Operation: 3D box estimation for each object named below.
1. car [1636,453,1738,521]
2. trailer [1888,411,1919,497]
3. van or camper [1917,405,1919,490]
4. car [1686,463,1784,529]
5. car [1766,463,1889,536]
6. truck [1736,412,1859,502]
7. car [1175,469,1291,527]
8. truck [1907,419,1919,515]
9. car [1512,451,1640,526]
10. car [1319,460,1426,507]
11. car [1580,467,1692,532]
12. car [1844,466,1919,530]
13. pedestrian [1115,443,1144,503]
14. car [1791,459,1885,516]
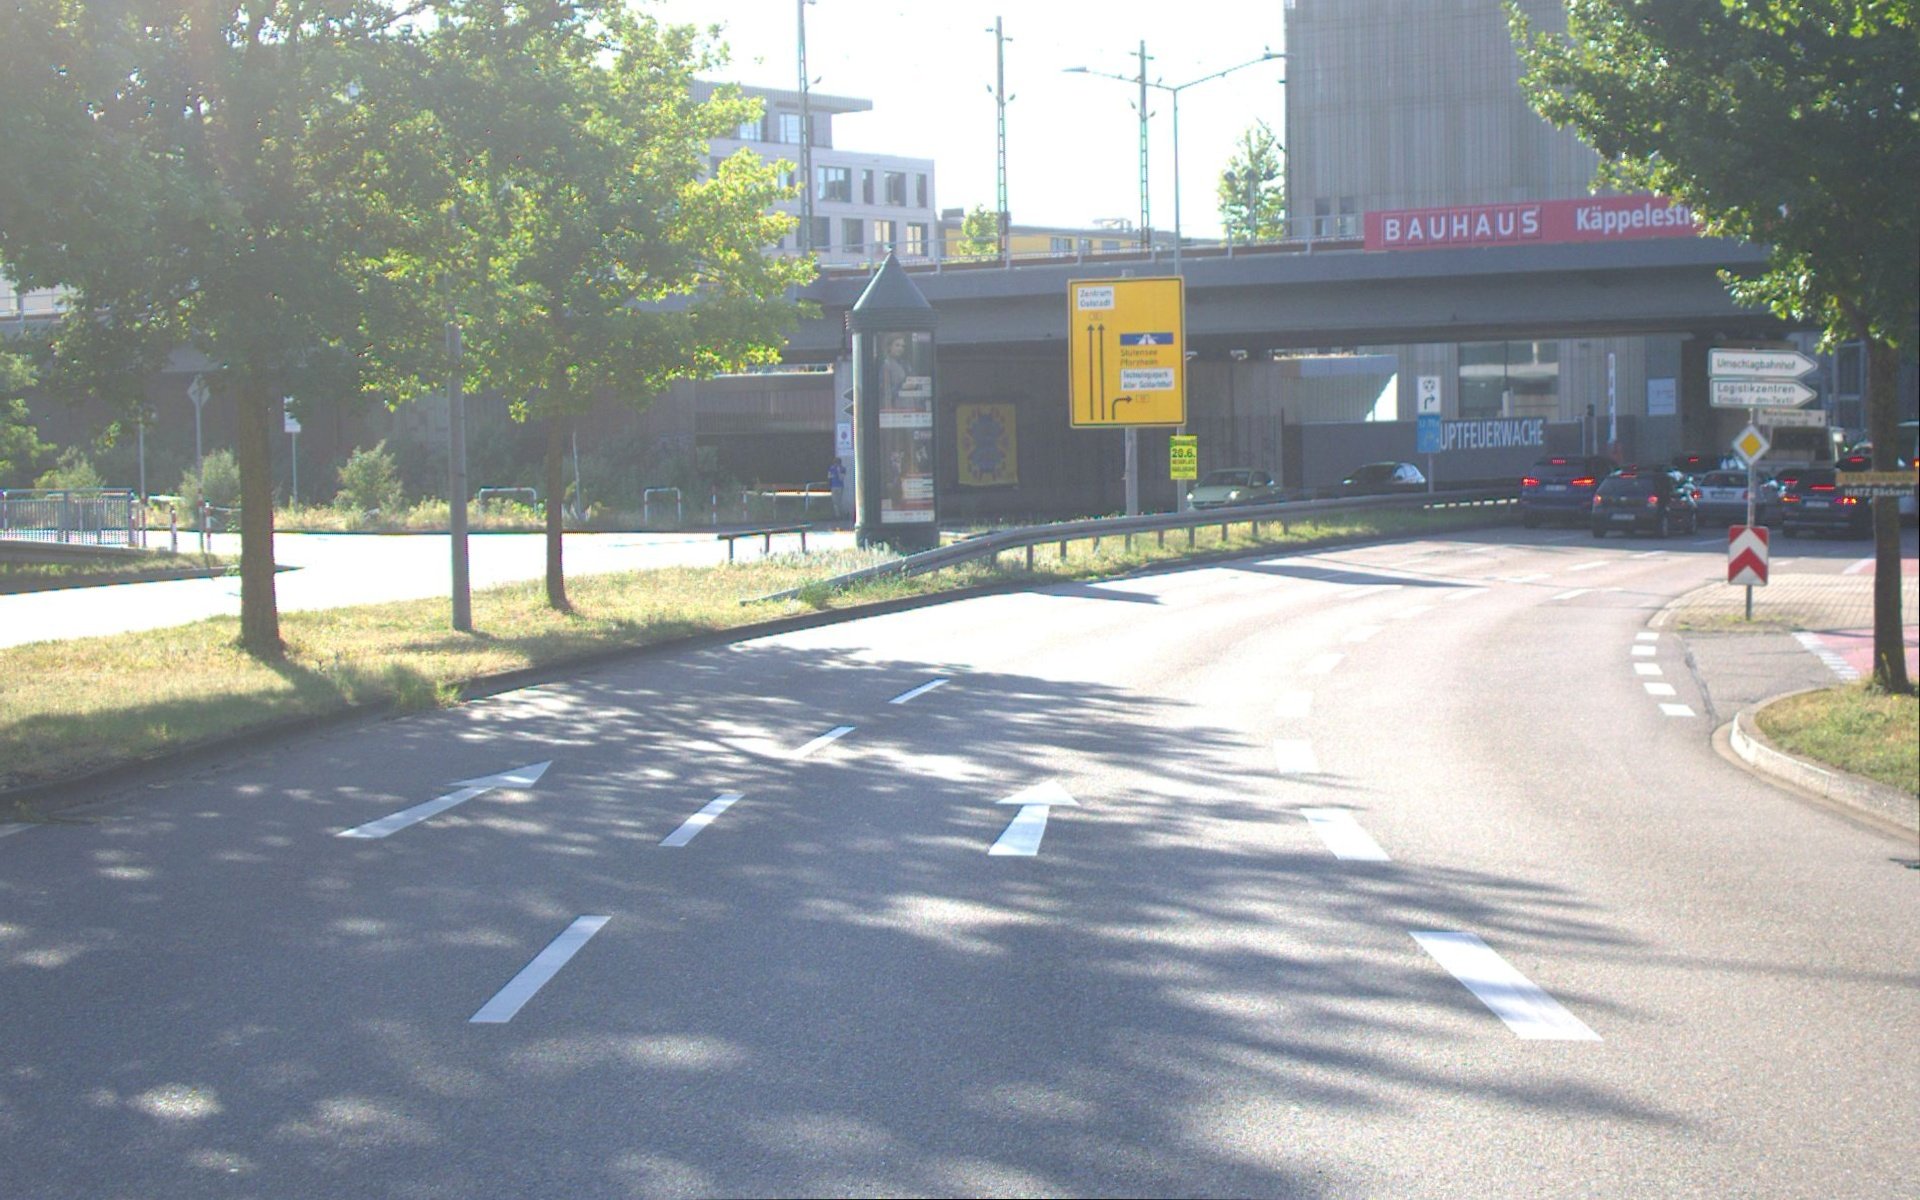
[{"bbox_3d":[19.758,-3.083,93.341,1.843,1.713,3.995,-2,1,24],"label":"car"},{"bbox_3d":[28.507,-4.266,100.113,1.867,2.456,3.826,0,2,30],"label":"trailer"},{"bbox_3d":[31.167,-4.658,105.089,1.997,2.561,5.907,1,3,33],"label":"van or camper"},{"bbox_3d":[18.731,-2.521,82.997,1.549,1.418,3.413,-2,2,25],"label":"car"},{"bbox_3d":[19.523,-2.288,77.280,1.743,1.449,4.600,2,4,26],"label":"car"},{"bbox_3d":[24.383,-4.149,100.008,2.031,2.547,5.529,1,3,29],"label":"truck"},{"bbox_3d":[7.277,-2.711,91.335,1.743,1.457,3.760,0,1,28],"label":"car"},{"bbox_3d":[26.640,-3.501,91.055,2.114,2.511,4.394,1,1,28],"label":"truck"},{"bbox_3d":[14.721,-2.668,82.023,1.832,1.732,4.455,1,2,26],"label":"car"},{"bbox_3d":[12.993,-3.655,108.141,1.675,1.457,4.098,1,2,33],"label":"car"},{"bbox_3d":[15.127,-2.265,76.769,1.584,1.403,3.827,2,3,25],"label":"car"},{"bbox_3d":[22.931,-2.506,83.861,1.775,1.490,3.826,0,2,28],"label":"car"},{"bbox_3d":[5.395,-4.061,109.725,0.695,1.897,0.664,1,3,31],"label":"pedestrian"},{"bbox_3d":[24.168,-3.106,94.589,1.584,1.527,3.826,2,3,29],"label":"car"}]
